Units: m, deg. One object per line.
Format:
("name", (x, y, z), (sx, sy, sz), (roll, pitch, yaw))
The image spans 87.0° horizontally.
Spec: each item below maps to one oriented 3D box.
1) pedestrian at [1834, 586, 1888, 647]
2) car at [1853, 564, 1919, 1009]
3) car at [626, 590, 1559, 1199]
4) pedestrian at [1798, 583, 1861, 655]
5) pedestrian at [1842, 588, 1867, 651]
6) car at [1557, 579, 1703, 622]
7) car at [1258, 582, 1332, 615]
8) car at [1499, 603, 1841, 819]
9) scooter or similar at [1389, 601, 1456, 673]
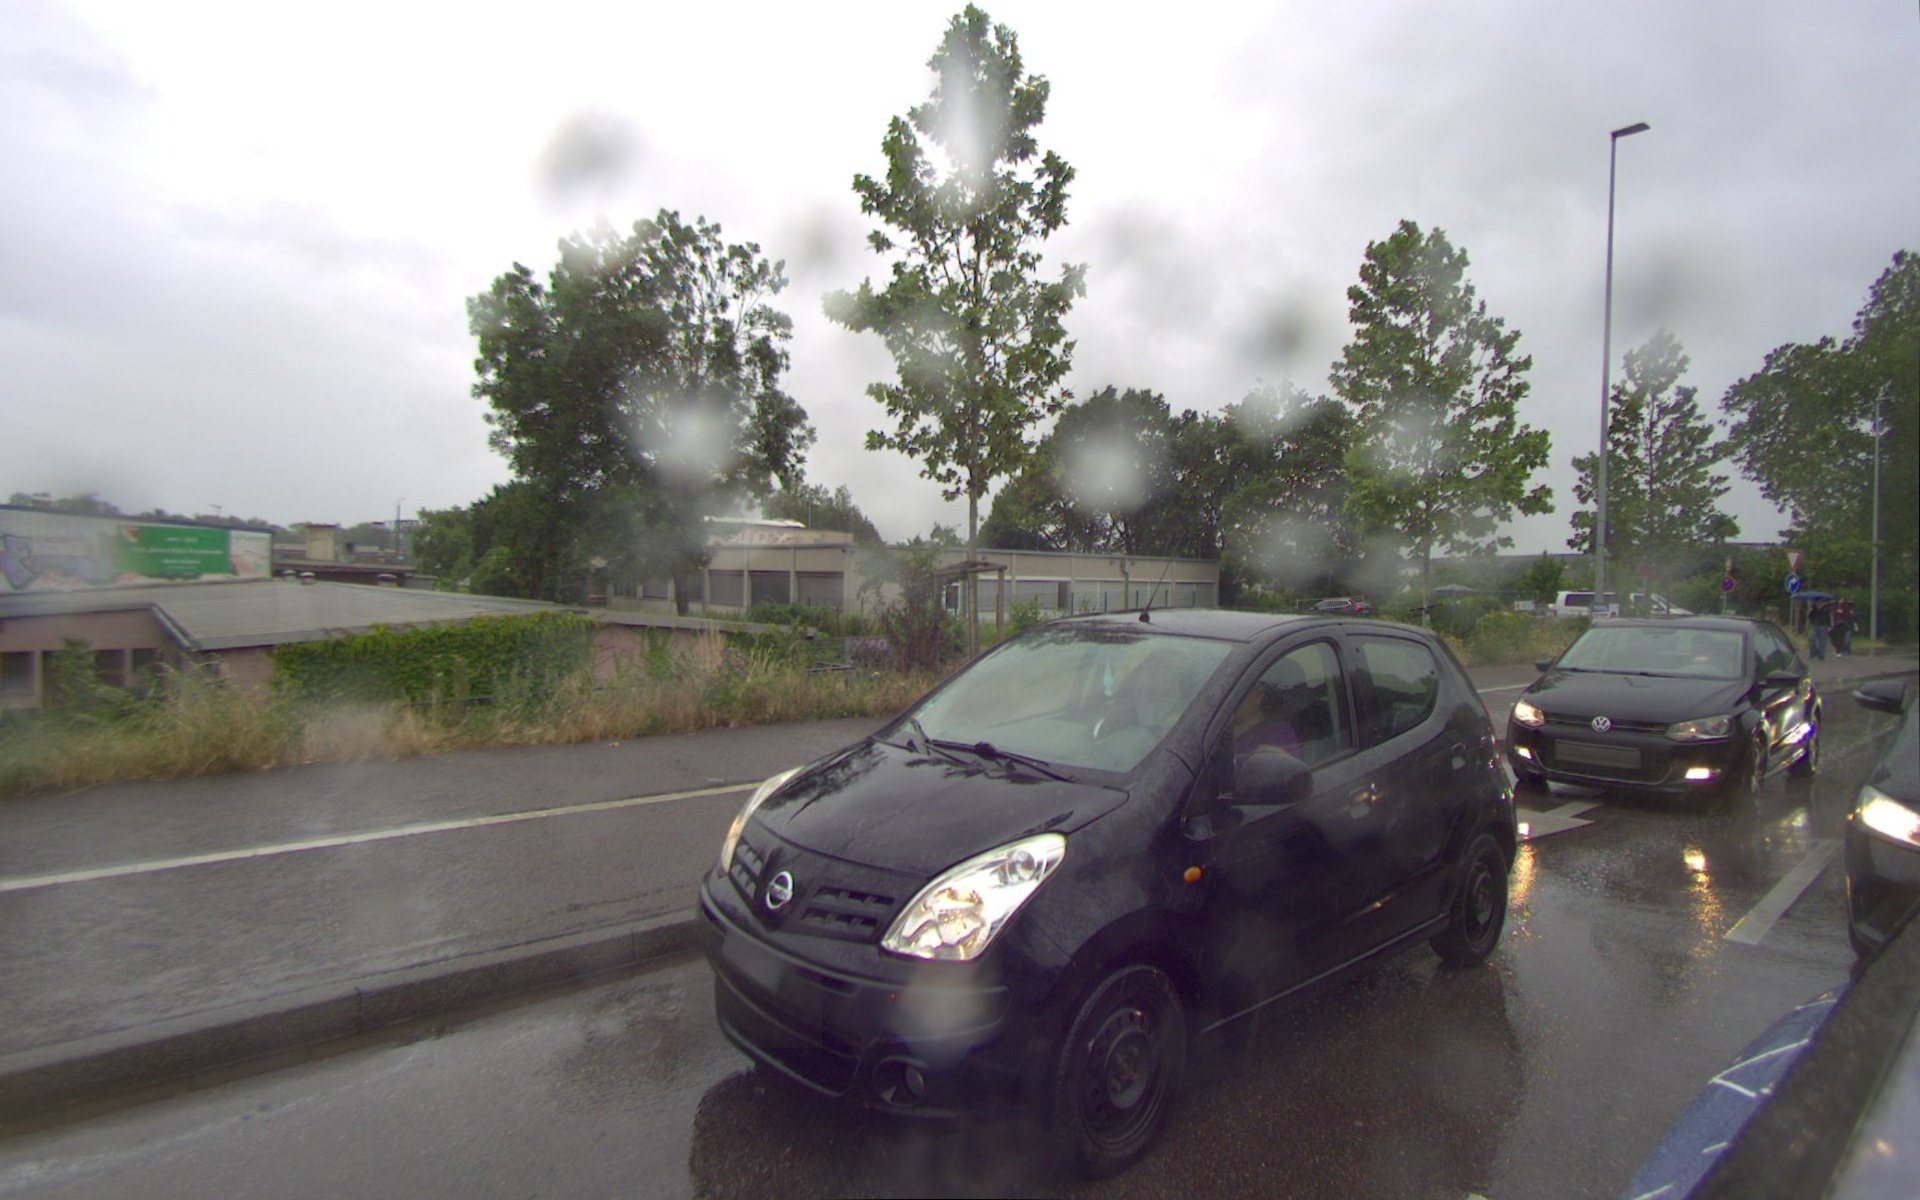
("pedestrian", (26.655, 0.473, 29.949), (0.876, 1.729, 1.024), (0, 3, -41))
("car", (5.440, 0.656, 4.492), (4.091, 1.607, 1.688), (-1, 0, -41))
("car", (0.778, 0.709, 3.875), (3.561, 1.447, 1.631), (0, 0, -42))
("pedestrian", (22.731, 0.476, 26.462), (0.953, 1.777, 1.081), (0, 3, -42))
("pedestrian", (24.526, 0.531, 27.756), (0.433, 1.682, 0.400), (0, 3, -42))
("car", (27.903, 0.044, 42.267), (1.966, 1.670, 4.751), (-1, 0, -42))
("car", (20.994, -0.114, 63.486), (1.964, 2.039, 3.996), (0, 0, -38))
("car", (6.149, 0.758, 8.626), (3.561, 1.447, 1.631), (0, 0, -42))
("scooter or similar", (7.900, 0.606, 17.256), (1.747, 1.144, 0.380), (-1, 2, -43))
